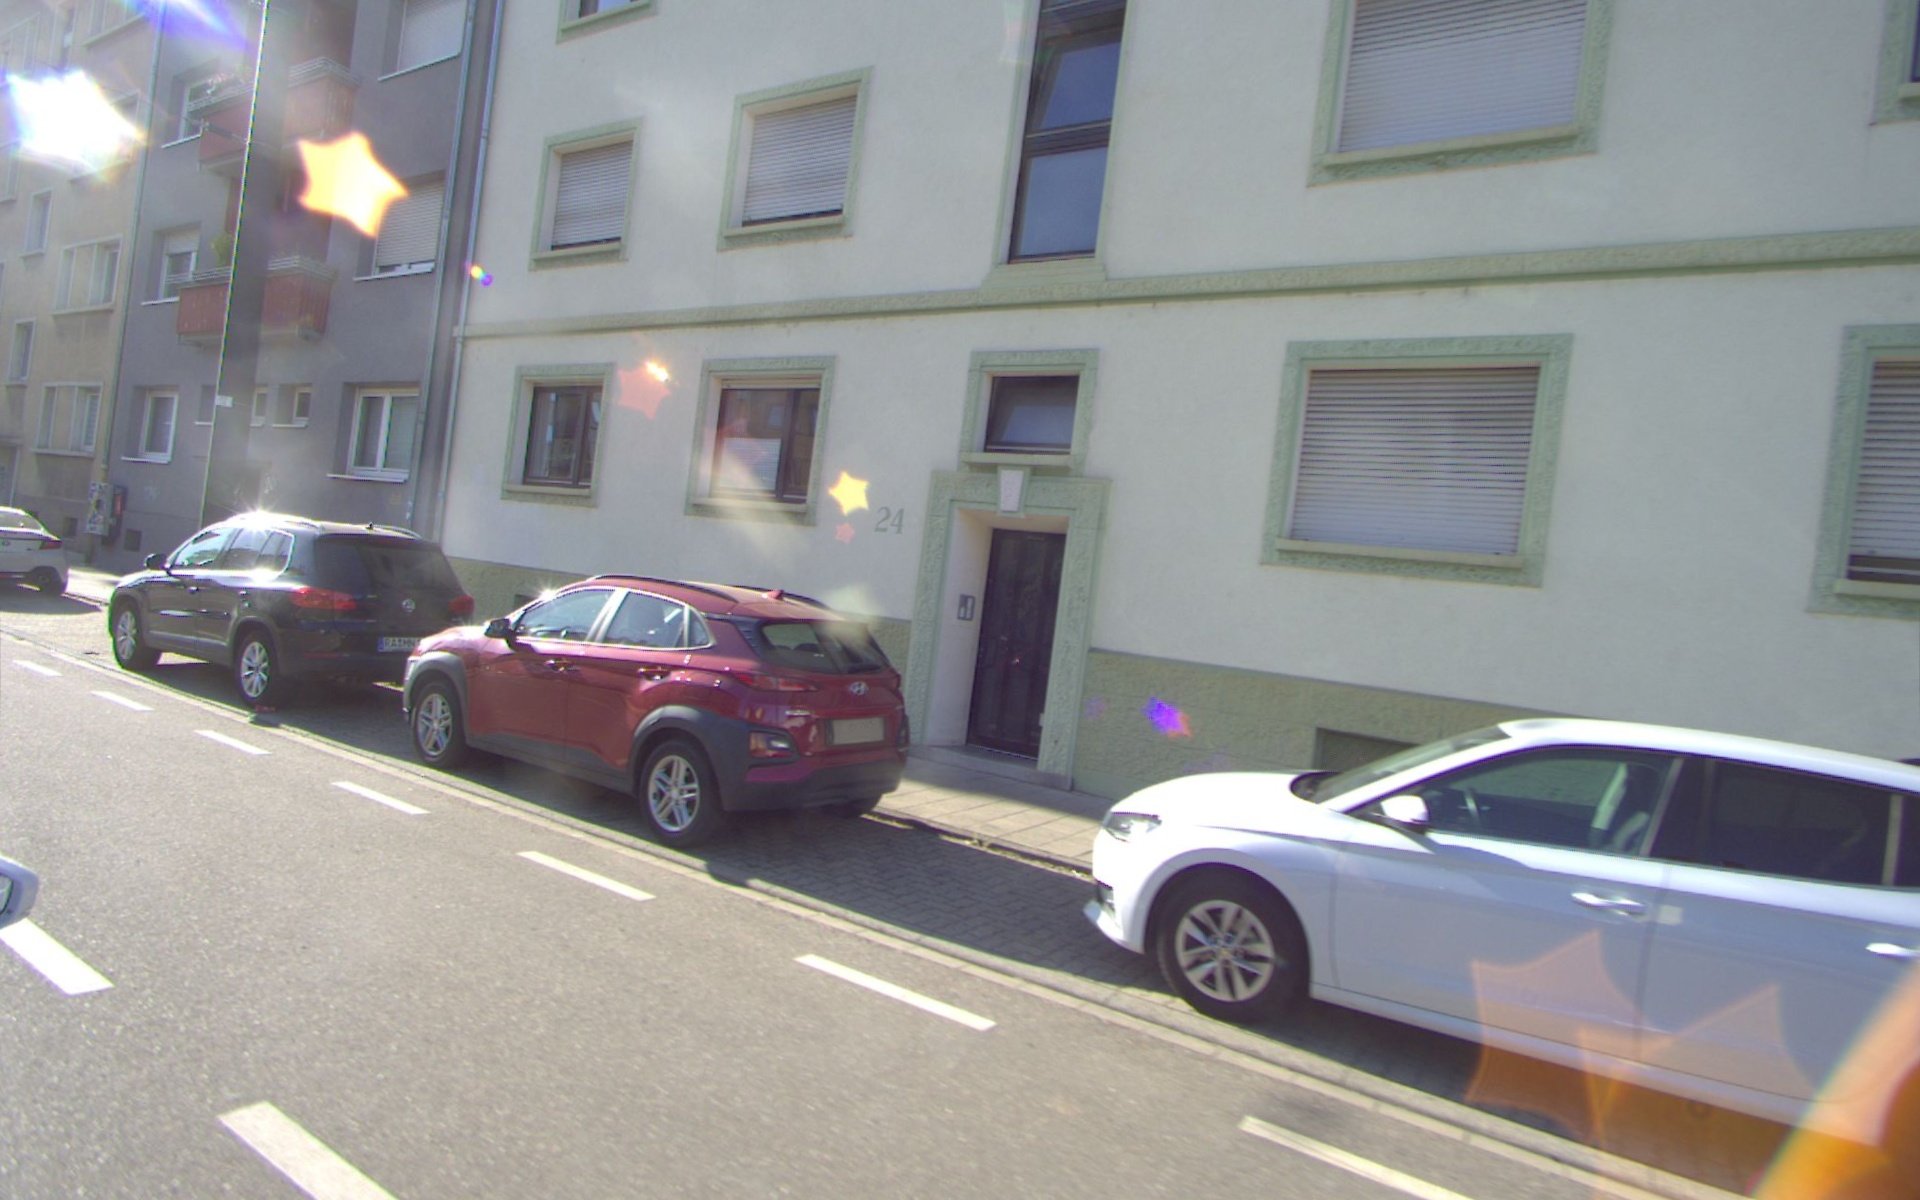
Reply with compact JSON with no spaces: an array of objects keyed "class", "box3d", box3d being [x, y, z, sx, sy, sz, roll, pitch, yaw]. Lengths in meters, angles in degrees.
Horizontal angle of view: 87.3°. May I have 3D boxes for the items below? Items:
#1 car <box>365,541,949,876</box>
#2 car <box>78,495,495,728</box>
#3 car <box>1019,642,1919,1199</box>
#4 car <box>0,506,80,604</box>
[{"class":"car","box3d":[-2.321,0.590,7.291,4.119,1.536,1.637,7,0,32]},{"class":"car","box3d":[-6.796,0.021,10.028,4.299,1.669,1.637,7,2,30]},{"class":"car","box3d":[2.493,1.206,4.441,4.011,1.476,1.639,7,0,28]},{"class":"car","box3d":[-15.583,-0.828,15.599,4.231,1.293,1.702,7,3,31]}]
